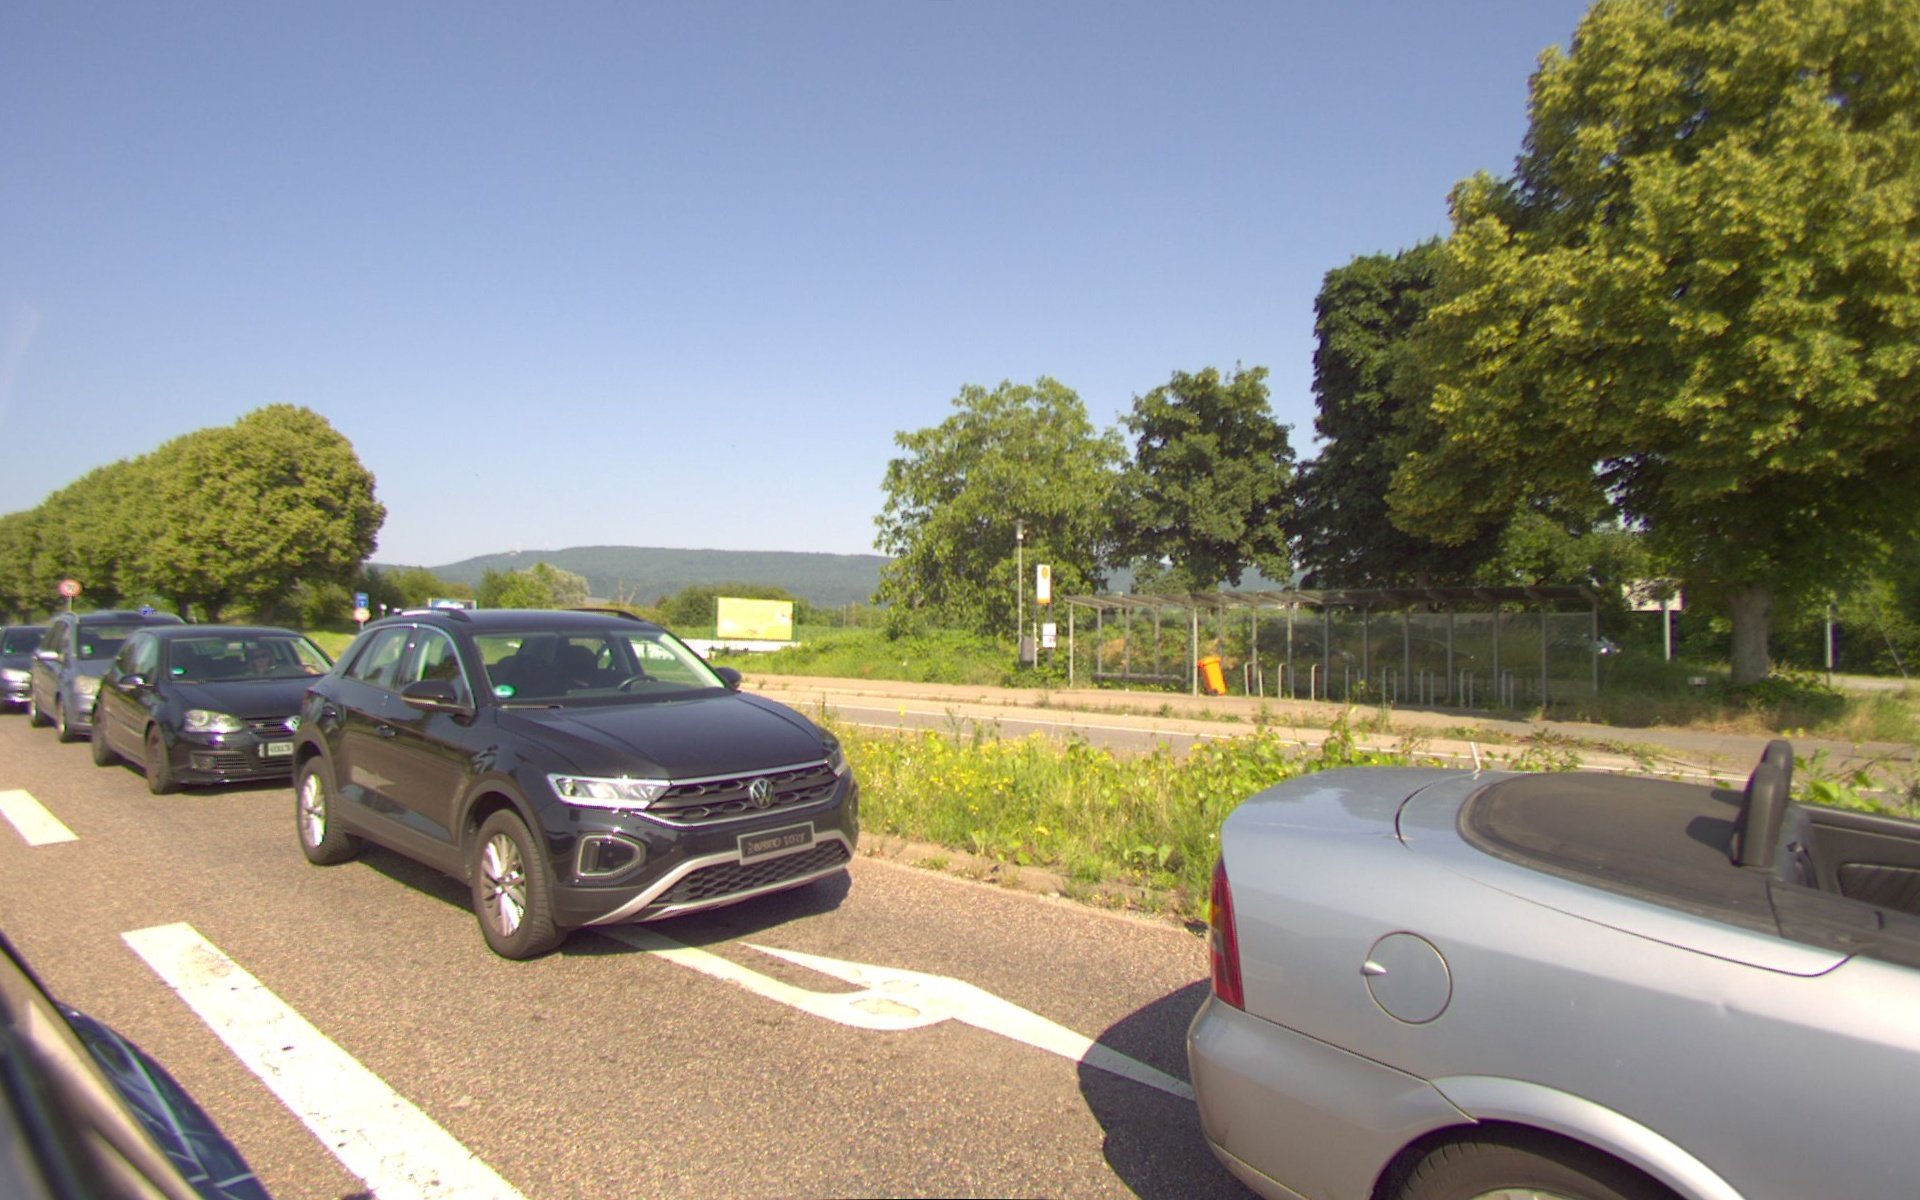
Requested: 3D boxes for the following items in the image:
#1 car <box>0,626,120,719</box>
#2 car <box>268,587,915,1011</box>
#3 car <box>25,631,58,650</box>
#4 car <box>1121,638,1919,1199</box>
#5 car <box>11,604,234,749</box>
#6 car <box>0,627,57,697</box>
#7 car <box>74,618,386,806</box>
[{"bbox_3d":[-16.183,1.191,17.673,4.353,1.421,1.696,-2,-1,42],"label":"car"},{"bbox_3d":[-2.318,0.788,5.746,4.096,1.559,1.710,-2,-2,42],"label":"car"},{"bbox_3d":[-82.065,3.594,90.417,3.773,1.452,1.599,-1,5,40],"label":"car"},{"bbox_3d":[2.412,0.751,1.404,4.096,1.345,1.656,-1,-3,42],"label":"car"},{"bbox_3d":[-11.604,0.947,13.920,4.355,1.685,1.723,-2,-2,42],"label":"car"},{"bbox_3d":[-21.451,1.319,22.288,4.639,1.436,1.784,-1,-1,41],"label":"car"},{"bbox_3d":[-7.342,0.946,10.024,4.096,1.486,1.648,-2,-2,42],"label":"car"}]
